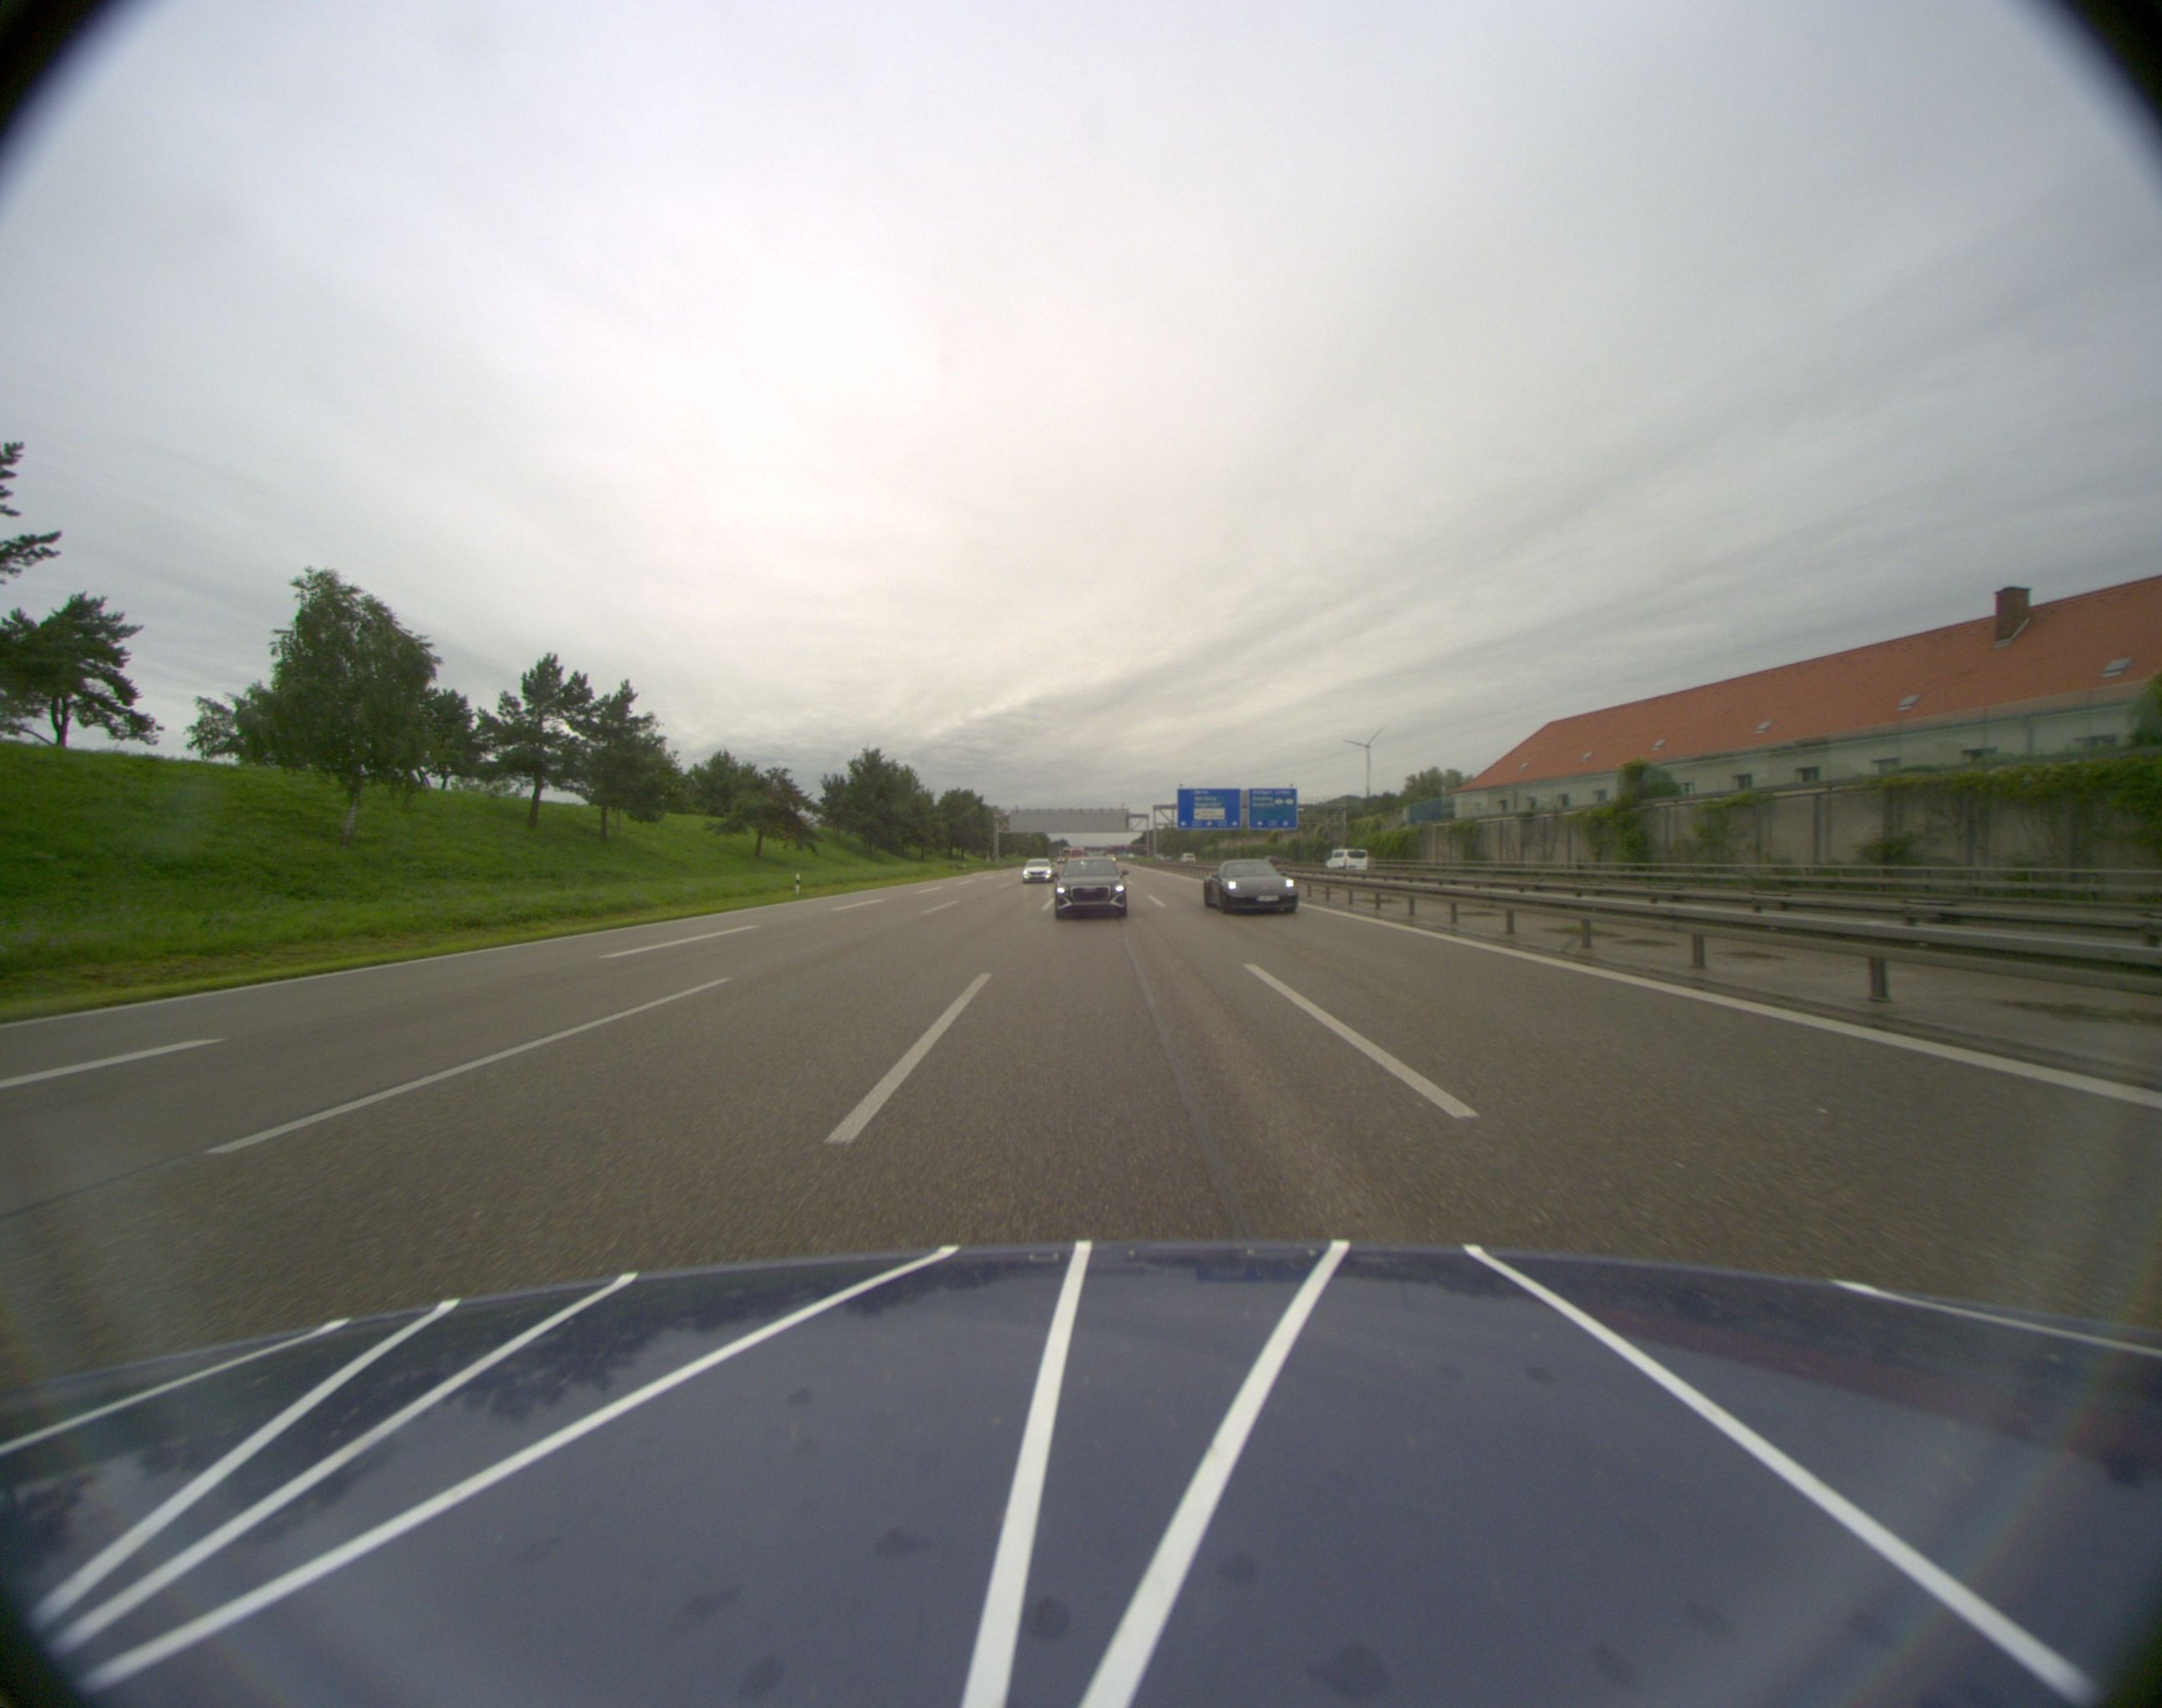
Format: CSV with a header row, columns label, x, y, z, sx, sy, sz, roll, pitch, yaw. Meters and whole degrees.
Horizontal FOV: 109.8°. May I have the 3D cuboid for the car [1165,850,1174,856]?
label,x,y,z,sx,sy,sz,roll,pitch,yaw
car,27.055,-0.341,231.866,2.214,1.863,5.754,-2,1,1

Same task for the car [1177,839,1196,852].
label,x,y,z,sx,sy,sz,roll,pitch,yaw
car,14.419,-1.153,104.131,1.792,1.741,4.535,-2,1,0

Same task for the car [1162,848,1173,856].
label,x,y,z,sx,sy,sz,roll,pitch,yaw
car,16.788,-0.339,147.717,1.605,1.398,4.764,3,1,0

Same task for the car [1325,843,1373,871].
label,x,y,z,sx,sy,sz,roll,pitch,yaw
car,20.666,0.163,58.831,1.998,2.002,4.956,-2,1,1

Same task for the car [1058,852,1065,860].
label,x,y,z,sx,sy,sz,roll,pitch,yaw
car,-4.402,0.352,174.129,1.346,1.732,3.106,-2,1,1

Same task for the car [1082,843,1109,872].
label,x,y,z,sx,sy,sz,roll,pitch,yaw
car,1.471,0.288,75.886,2.459,2.726,8.265,-2,1,1

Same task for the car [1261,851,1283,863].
label,x,y,z,sx,sy,sz,roll,pitch,yaw
car,25.872,0.355,102.873,1.960,1.543,4.521,-2,1,2

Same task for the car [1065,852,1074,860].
label,x,y,z,sx,sy,sz,roll,pitch,yaw
car,-3.130,0.537,203.844,1.998,2.002,4.000,-2,1,2

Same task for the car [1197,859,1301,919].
label,x,y,z,sx,sy,sz,roll,pitch,yaw
car,4.288,0.831,20.164,1.655,1.264,4.924,-2,1,0

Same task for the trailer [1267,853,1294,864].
label,x,y,z,sx,sy,sz,roll,pitch,yaw
trailer,25.710,0.523,97.954,2.135,1.260,5.247,-2,1,1

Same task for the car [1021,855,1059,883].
label,x,y,z,sx,sy,sz,roll,pitch,yaw
car,-2.486,0.891,47.313,1.998,1.555,4.910,0,0,1

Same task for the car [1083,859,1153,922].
label,x,y,z,sx,sy,sz,roll,pitch,yaw
car,0.906,0.884,19.827,1.616,1.403,3.326,-2,1,1

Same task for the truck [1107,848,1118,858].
label,x,y,z,sx,sy,sz,roll,pitch,yaw
truck,6.556,-0.234,159.003,1.998,2.002,4.000,-2,0,1

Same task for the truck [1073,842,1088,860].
label,x,y,z,sx,sy,sz,roll,pitch,yaw
truck,-0.044,-0.723,160.826,2.836,3.634,10.670,-2,1,1
